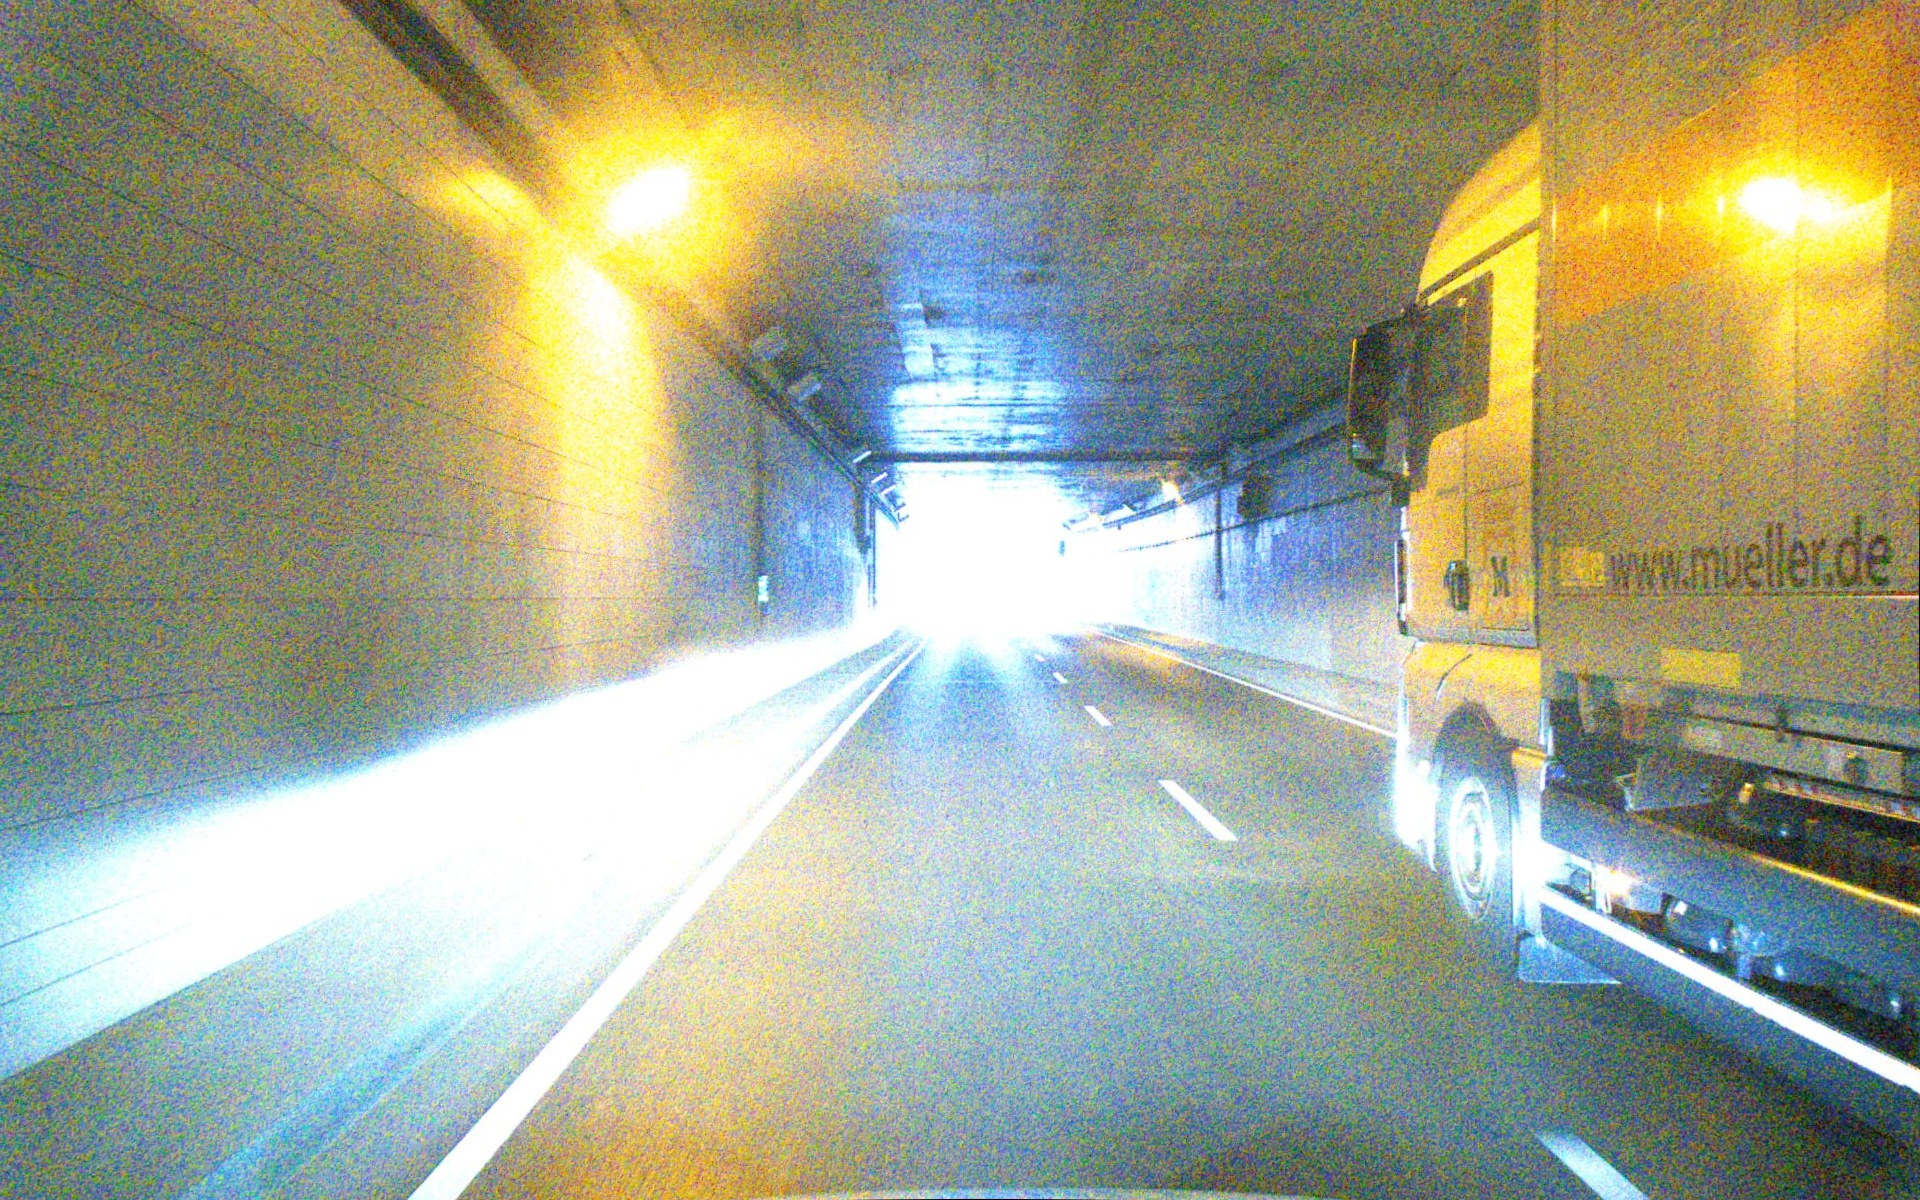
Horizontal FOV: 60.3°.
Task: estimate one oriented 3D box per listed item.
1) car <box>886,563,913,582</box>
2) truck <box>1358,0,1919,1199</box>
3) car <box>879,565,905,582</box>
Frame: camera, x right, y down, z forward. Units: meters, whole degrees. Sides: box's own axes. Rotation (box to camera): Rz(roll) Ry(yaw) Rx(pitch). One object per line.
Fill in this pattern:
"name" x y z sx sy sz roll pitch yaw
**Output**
"car" -5.728 -2.587 155.803 1.837 1.763 3.988 0 0 -12
"truck" 3.453 -0.530 3.432 2.830 3.982 9.908 0 0 0
"car" -5.869 -2.296 142.456 1.807 1.413 3.991 0 0 -9
